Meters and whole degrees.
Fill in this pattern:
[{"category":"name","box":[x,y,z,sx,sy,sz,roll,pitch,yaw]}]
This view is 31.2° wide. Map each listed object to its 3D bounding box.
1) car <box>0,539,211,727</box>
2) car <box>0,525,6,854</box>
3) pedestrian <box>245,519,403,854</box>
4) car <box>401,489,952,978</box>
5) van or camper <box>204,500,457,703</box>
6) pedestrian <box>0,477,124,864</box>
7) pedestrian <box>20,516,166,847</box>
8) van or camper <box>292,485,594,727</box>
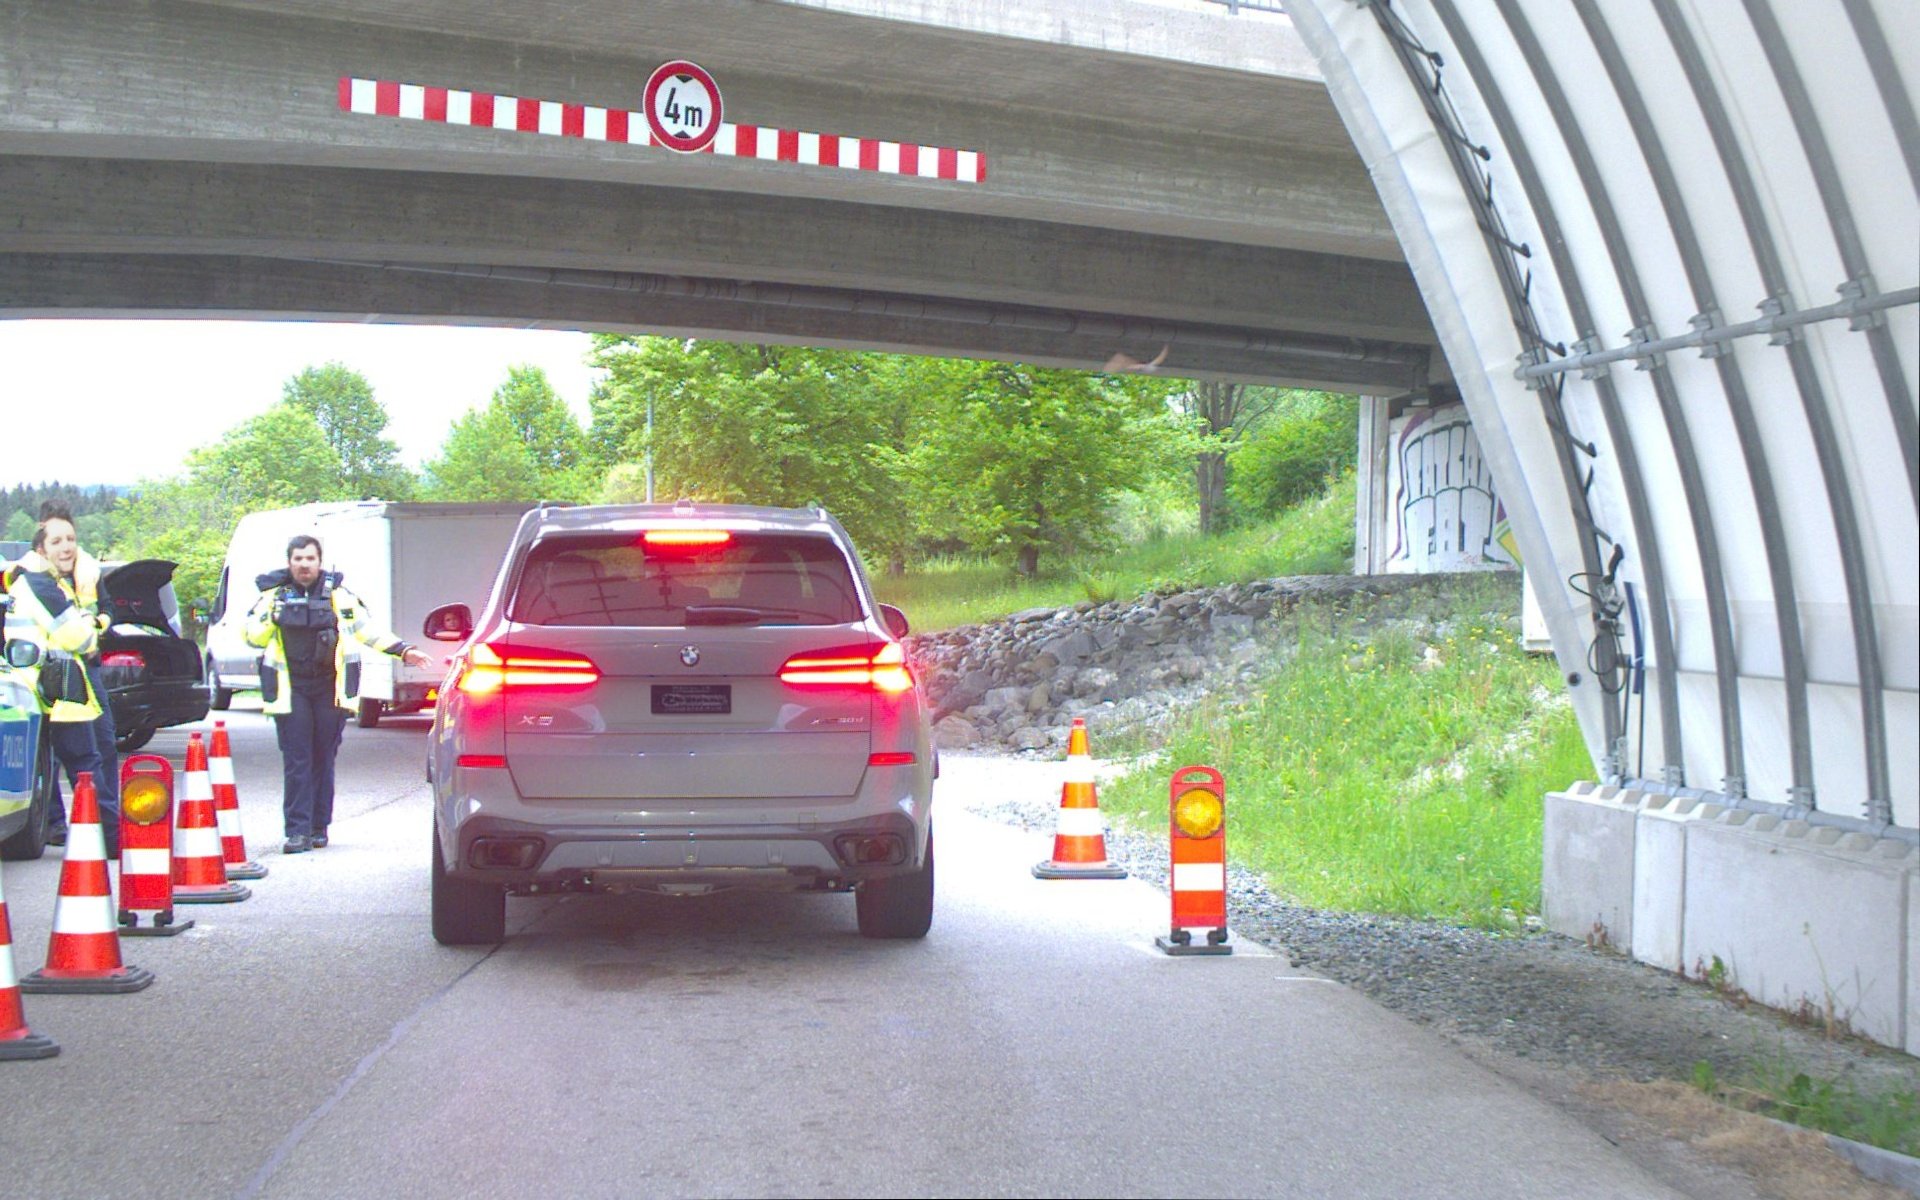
[{"category":"car","box":[-10.953,0.361,38.142,4.808,2.007,1.840,0,0,12]},{"category":"car","box":[-5.419,0.468,15.288,1.877,1.641,4.001,-1,0,-10]},{"category":"pedestrian","box":[-3.350,0.441,18.161,0.779,1.716,0.757,-1,0,-9]},{"category":"car","box":[-1.203,0.470,14.628,1.993,1.759,4.001,-1,0,-5]},{"category":"van or camper","box":[-8.400,-0.005,45.437,2.103,2.510,5.552,-1,1,-23]},{"category":"pedestrian","box":[-4.659,0.346,17.418,0.749,1.912,0.763,-1,0,-10]},{"category":"pedestrian","box":[-4.672,0.427,18.557,0.609,1.748,0.666,-1,0,-1]},{"category":"van or camper","box":[-6.098,0.038,39.753,2.229,2.543,6.612,-1,1,-19]}]
